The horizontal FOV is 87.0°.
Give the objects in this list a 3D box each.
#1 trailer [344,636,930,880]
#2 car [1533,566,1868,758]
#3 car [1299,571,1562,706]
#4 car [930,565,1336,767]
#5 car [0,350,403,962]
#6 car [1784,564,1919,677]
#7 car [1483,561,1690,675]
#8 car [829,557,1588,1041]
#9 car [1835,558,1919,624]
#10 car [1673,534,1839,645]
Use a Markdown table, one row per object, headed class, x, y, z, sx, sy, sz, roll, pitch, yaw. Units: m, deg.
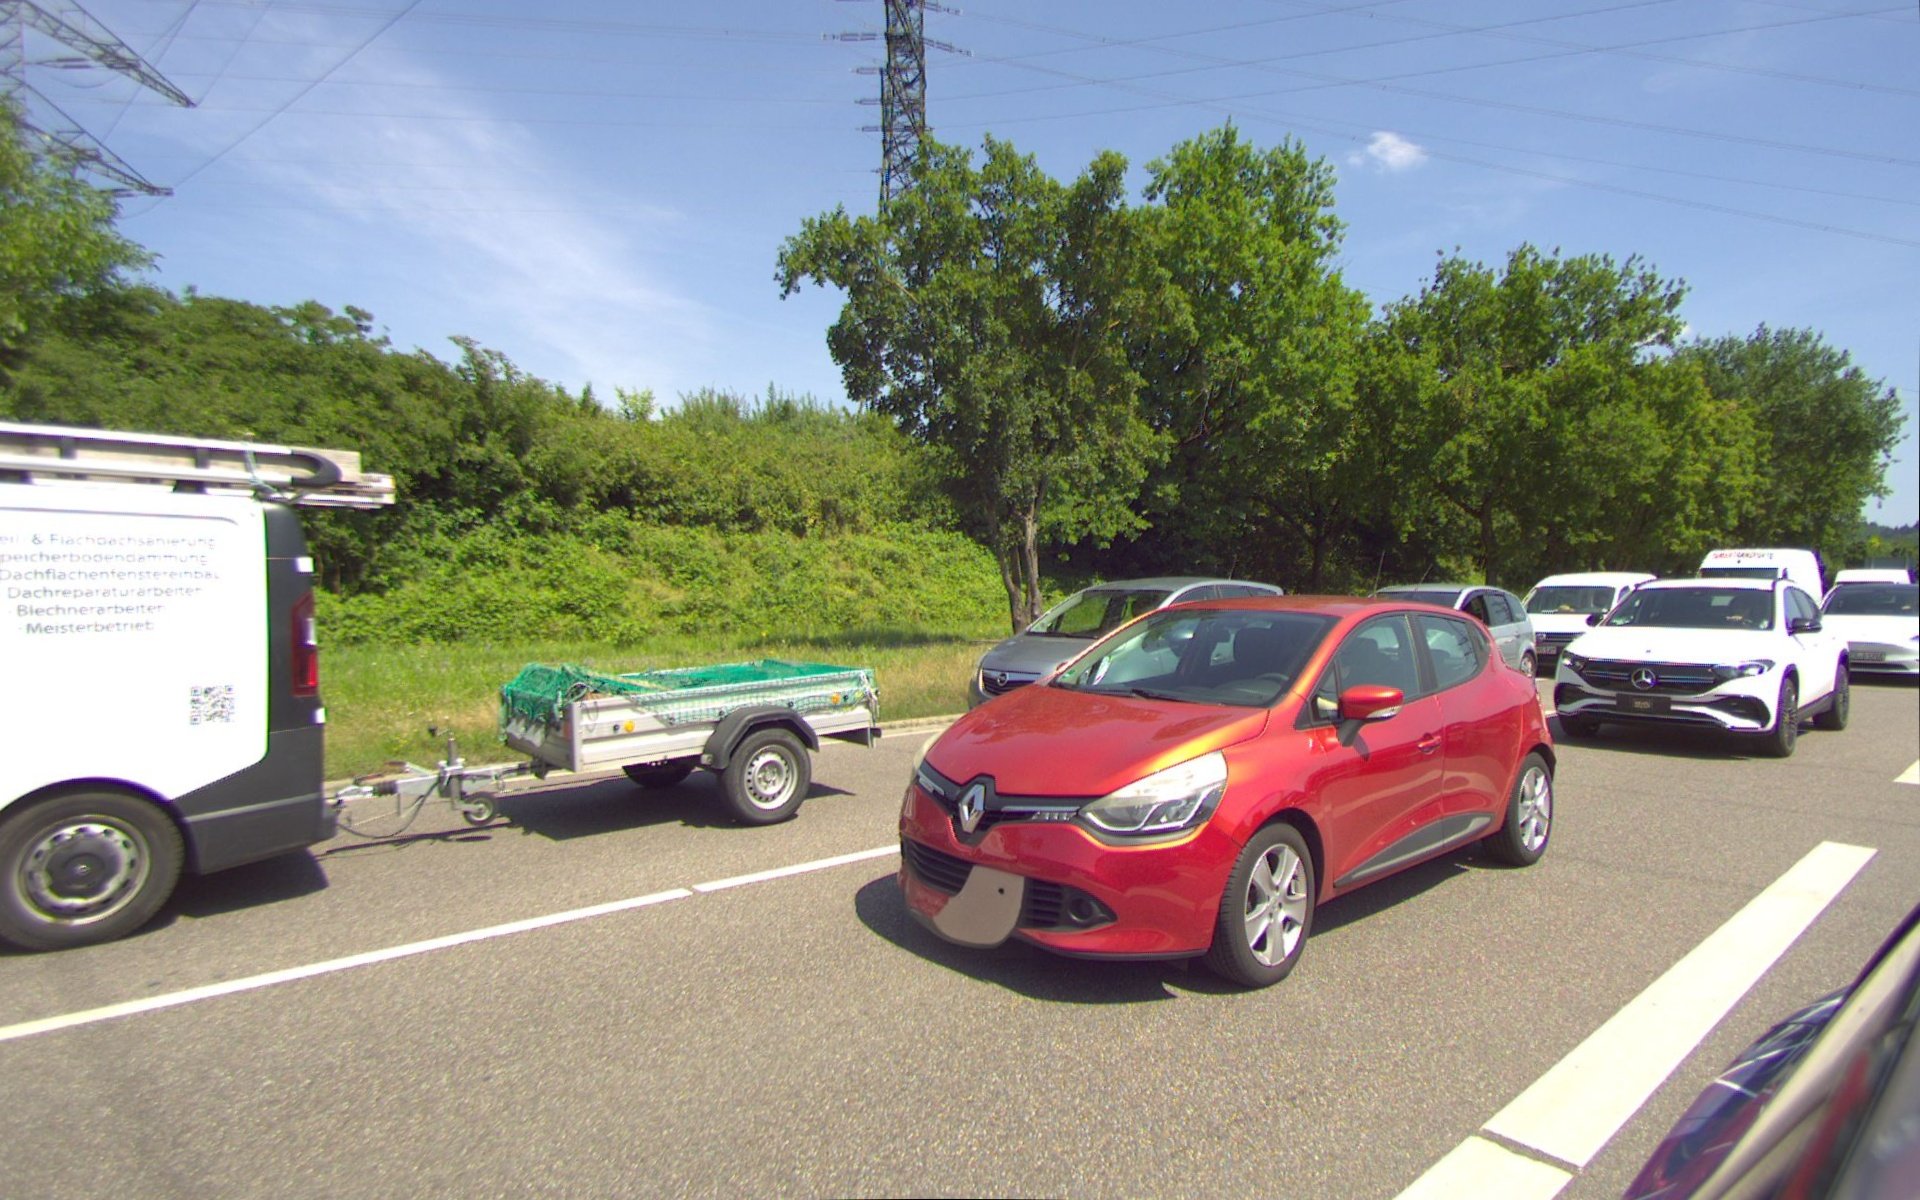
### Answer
| class | x | y | z | sx | sy | sz | roll | pitch | yaw |
| --- | --- | --- | --- | --- | --- | --- | --- | --- | --- |
| trailer | -1.992 | 0.822 | 6.613 | 3.265 | 1.019 | 1.709 | 0 | 1 | -40 |
| car | 7.768 | 0.493 | 10.464 | 4.286 | 1.588 | 1.849 | 0 | 0 | -40 |
| car | 6.645 | 0.436 | 14.110 | 4.197 | 1.614 | 1.746 | 0 | 0 | -40 |
| car | 1.852 | 0.491 | 10.089 | 4.091 | 1.615 | 1.768 | 0 | 1 | -40 |
| car | -5.176 | 0.221 | 3.959 | 4.986 | 2.378 | 1.936 | -1 | 0 | -41 |
| car | 15.536 | 0.289 | 17.030 | 3.931 | 1.703 | 2.020 | -1 | 0 | -42 |
| car | 11.496 | 0.260 | 18.419 | 4.949 | 1.823 | 1.808 | 0 | 0 | -41 |
| car | 1.493 | 0.587 | 5.076 | 3.994 | 1.480 | 1.745 | 0 | 0 | -41 |
| car | 36.998 | -0.357 | 40.374 | 5.711 | 2.453 | 2.307 | -1 | 0 | -40 |
| car | 21.413 | -0.278 | 27.080 | 6.896 | 2.640 | 2.231 | 0 | 0 | -41 |
